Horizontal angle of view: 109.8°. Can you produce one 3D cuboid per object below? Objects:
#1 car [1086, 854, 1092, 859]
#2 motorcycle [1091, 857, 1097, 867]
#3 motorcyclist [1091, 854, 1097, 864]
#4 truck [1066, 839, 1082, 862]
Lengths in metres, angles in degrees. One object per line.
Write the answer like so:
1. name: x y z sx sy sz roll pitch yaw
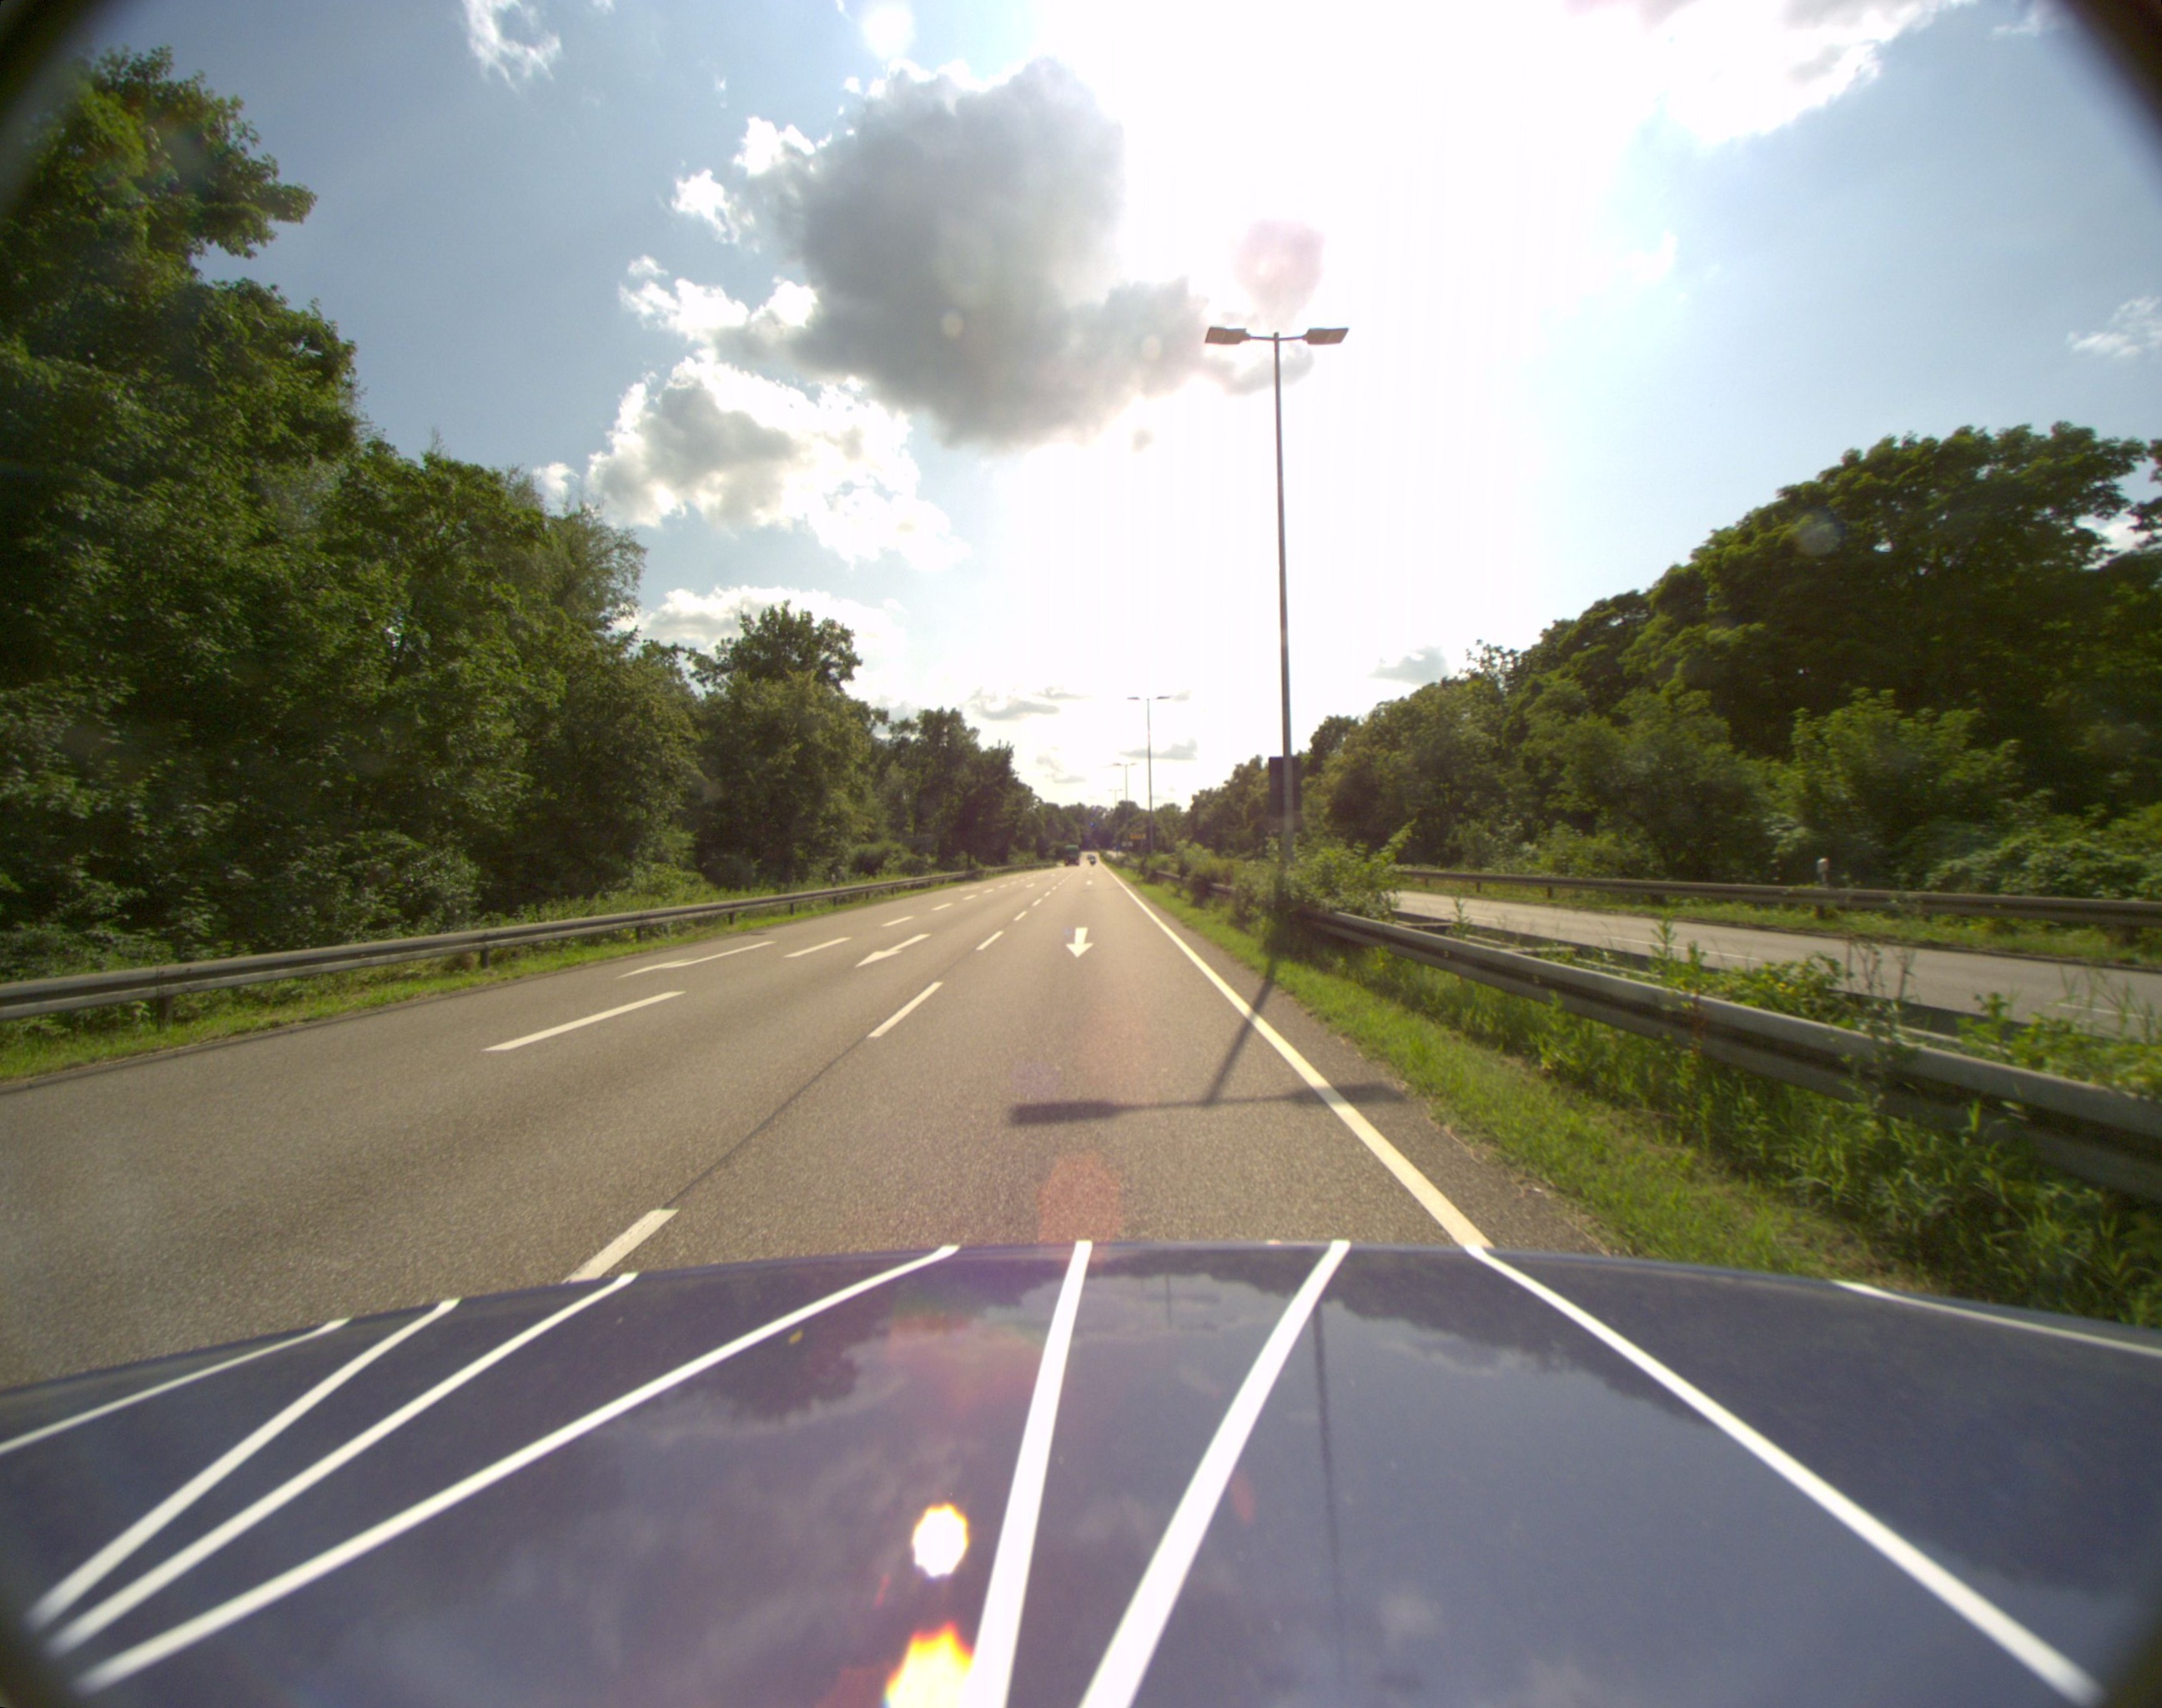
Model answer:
1. car: 2.190 0.754 209.529 1.735 1.467 4.047 -1 -1 2
2. motorcycle: 2.000 1.224 115.138 0.939 1.375 2.370 -1 0 1
3. motorcyclist: 1.987 0.742 115.101 0.939 1.581 1.083 -1 0 2
4. truck: -1.186 -0.530 132.555 2.591 3.870 6.062 -3 0 1
